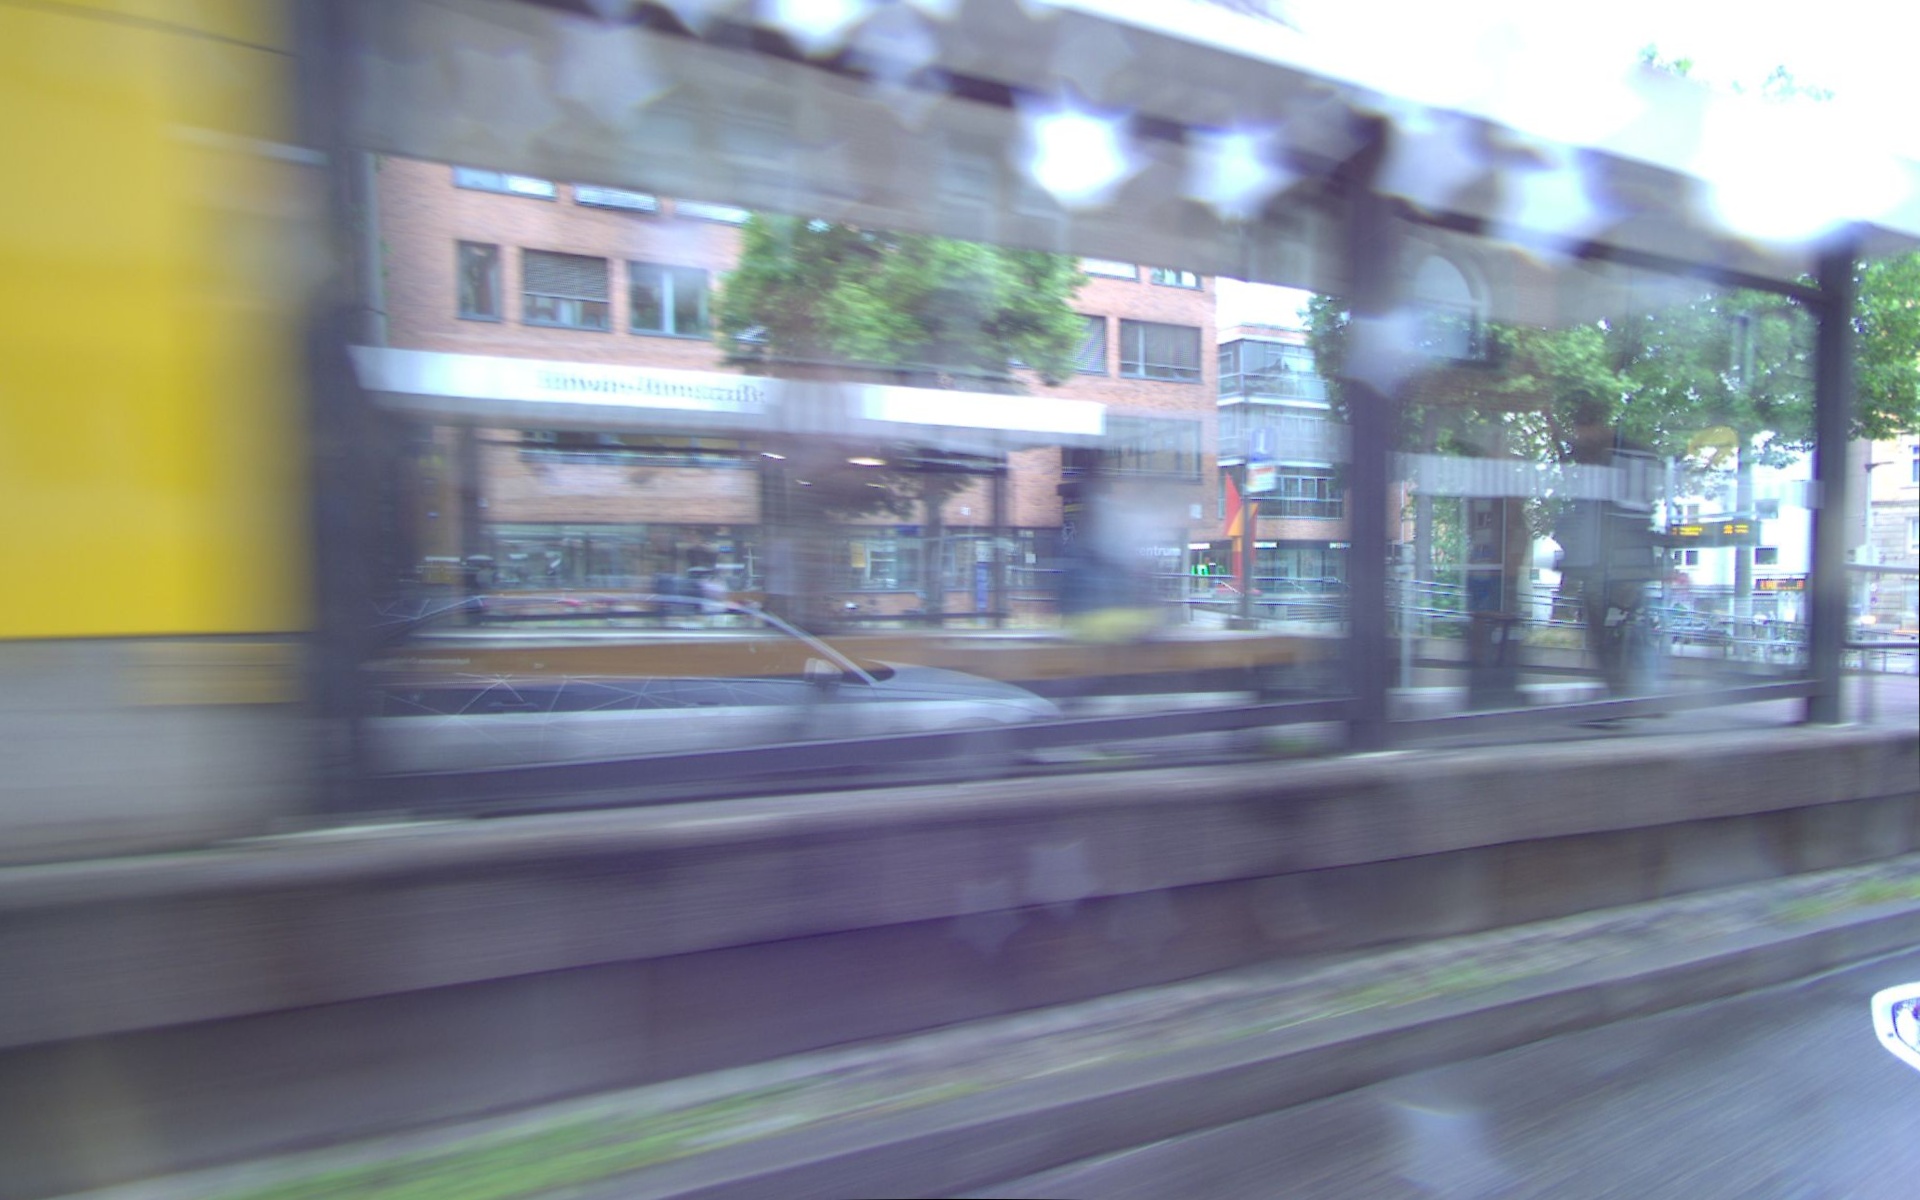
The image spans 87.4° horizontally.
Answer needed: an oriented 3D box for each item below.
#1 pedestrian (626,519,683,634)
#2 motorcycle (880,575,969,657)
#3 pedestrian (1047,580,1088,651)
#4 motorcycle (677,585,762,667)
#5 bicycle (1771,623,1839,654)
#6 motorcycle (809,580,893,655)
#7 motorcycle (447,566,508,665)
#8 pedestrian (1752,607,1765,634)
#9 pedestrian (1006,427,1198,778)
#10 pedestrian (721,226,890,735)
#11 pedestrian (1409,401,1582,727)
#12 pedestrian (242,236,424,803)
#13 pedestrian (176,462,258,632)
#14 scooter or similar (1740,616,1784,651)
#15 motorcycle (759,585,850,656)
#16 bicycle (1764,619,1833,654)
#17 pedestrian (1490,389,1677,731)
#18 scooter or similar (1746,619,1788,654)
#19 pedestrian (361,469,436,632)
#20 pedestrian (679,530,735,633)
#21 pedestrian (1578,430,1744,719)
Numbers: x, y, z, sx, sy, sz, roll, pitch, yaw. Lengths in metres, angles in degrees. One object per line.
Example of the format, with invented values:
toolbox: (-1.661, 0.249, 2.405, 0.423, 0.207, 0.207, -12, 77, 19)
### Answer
pedestrian: (-3.806, -0.288, 12.478, 0.557, 1.381, 0.774, 0, 2, -27)
motorcycle: (-0.902, 0.341, 24.093, 0.980, 1.840, 3.026, 1, 1, -26)
pedestrian: (3.147, 0.447, 29.449, 0.965, 2.040, 0.732, 1, 0, -19)
motorcycle: (-5.331, 0.502, 21.998, 0.993, 1.627, 3.851, 1, 1, -26)
bicycle: (31.217, 1.410, 37.133, 0.513, 1.076, 1.858, 1, 0, -36)
motorcycle: (-2.614, 0.362, 23.630, 0.993, 1.649, 3.048, 1, 1, -26)
motorcycle: (-9.676, 0.255, 20.175, 0.993, 1.797, 3.851, 1, 1, -26)
pedestrian: (48.967, 1.246, 61.592, 0.508, 1.643, 0.486, 1, 0, 26)
pedestrian: (0.537, 0.010, 3.935, 0.500, 1.243, 0.612, 1, 1, -21)
pedestrian: (-0.533, -0.374, 3.477, 0.518, 1.610, 0.506, 1, 1, -9)
pedestrian: (2.823, -0.175, 5.325, 0.500, 1.602, 0.612, 1, 1, -21)
pedestrian: (-1.962, -0.228, 3.171, 0.445, 1.626, 0.407, 1, 0, -31)
pedestrian: (-7.607, -0.526, 10.307, 0.557, 1.663, 0.684, 0, 2, -27)
scooter or similar: (28.880, 1.191, 36.178, 1.226, 1.211, 0.299, 1, 0, 15)
motorcycle: (-3.657, 0.417, 23.218, 0.993, 1.507, 3.851, 1, 1, -26)
bicycle: (30.477, 1.320, 36.520, 0.513, 1.211, 1.858, 1, 0, -35)
pedestrian: (3.348, -0.197, 5.420, 0.578, 1.710, 0.612, 1, 1, -21)
scooter or similar: (28.644, 1.289, 35.656, 1.090, 1.211, 0.362, 1, 0, 15)
pedestrian: (-6.195, -0.532, 11.111, 0.696, 1.738, 0.560, 0, 2, -27)
pedestrian: (-3.204, -0.236, 12.703, 0.557, 1.257, 0.701, 0, 2, -27)
pedestrian: (4.137, -0.139, 5.951, 0.500, 1.602, 0.612, 1, 1, -21)
